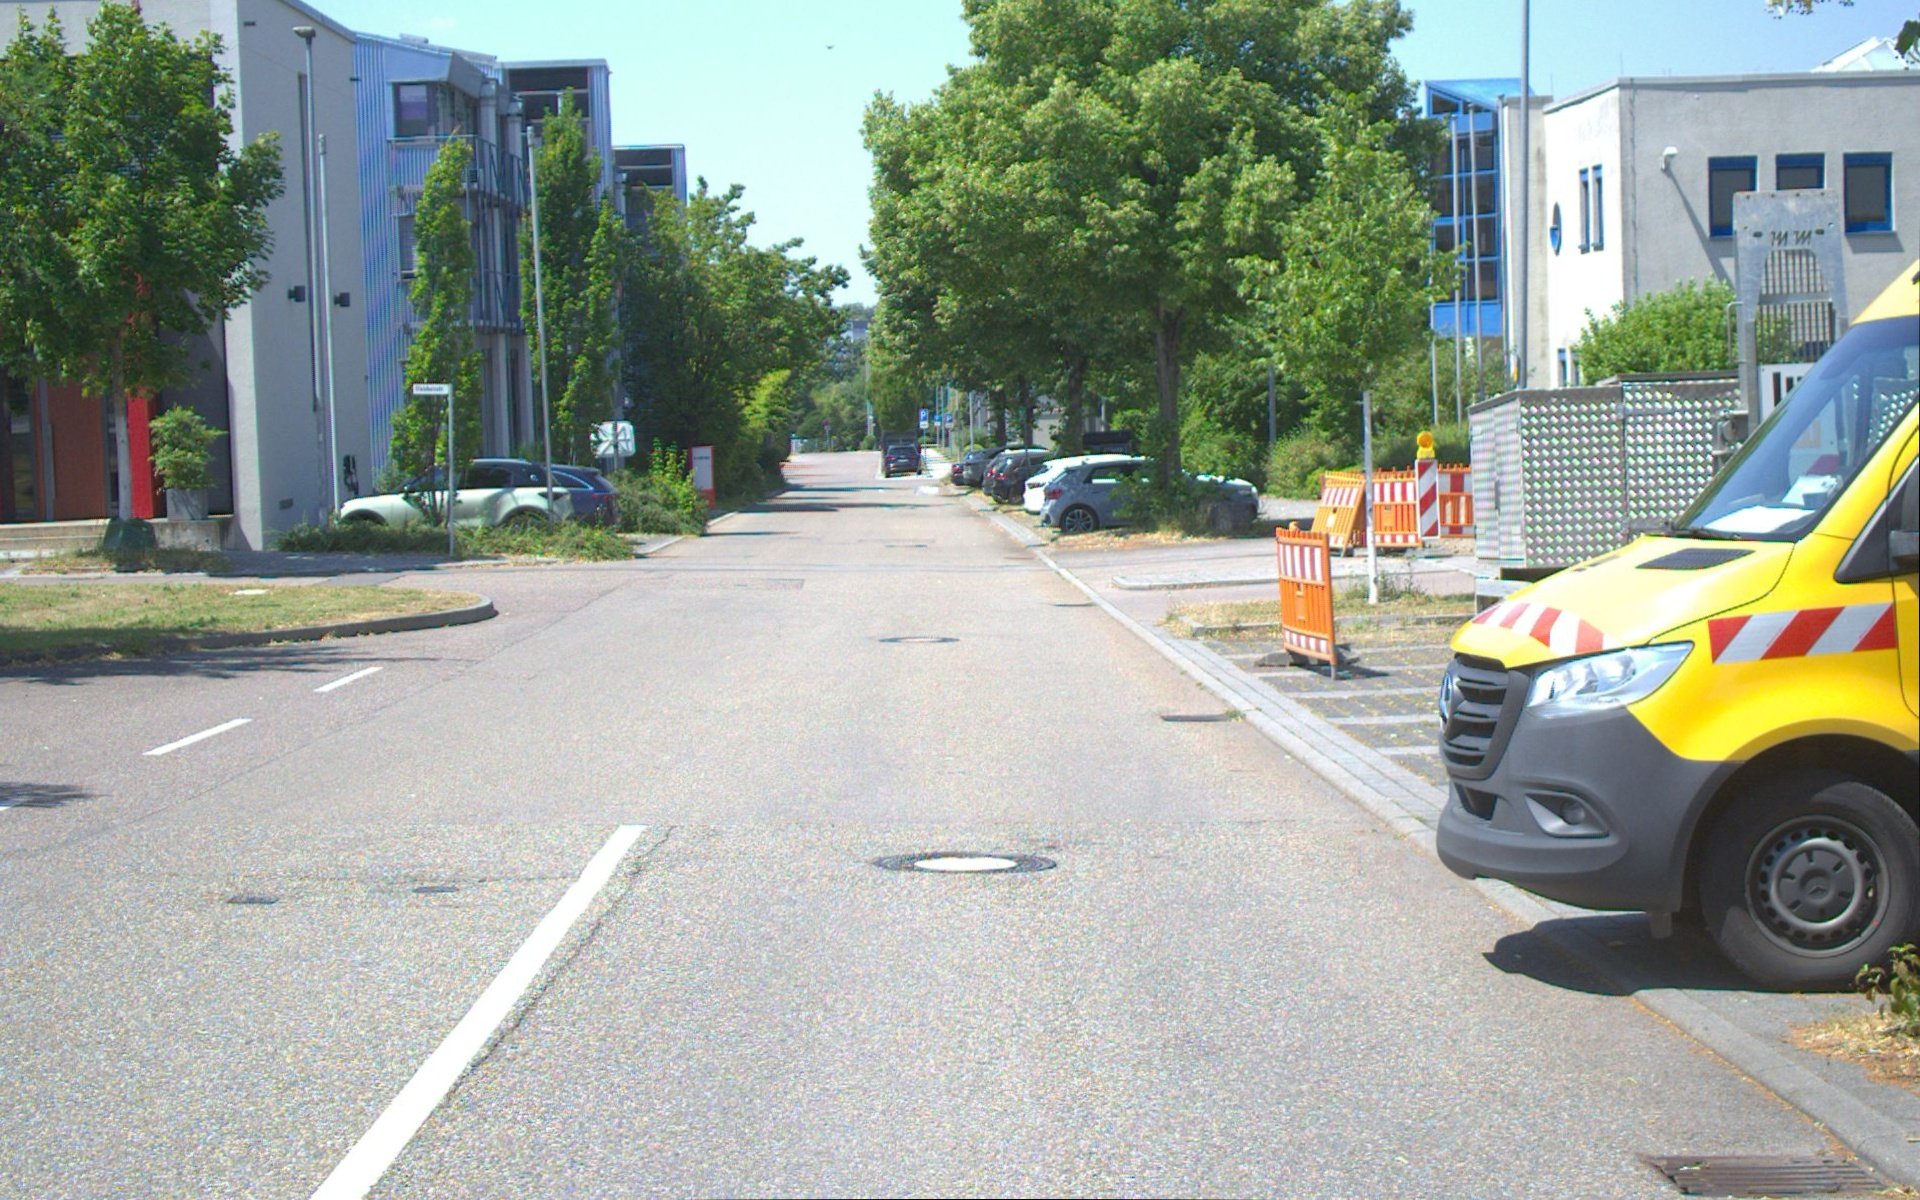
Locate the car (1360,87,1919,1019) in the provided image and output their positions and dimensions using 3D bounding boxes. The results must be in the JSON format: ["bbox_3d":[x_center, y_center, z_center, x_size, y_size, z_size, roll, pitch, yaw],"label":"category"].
[{"bbox_3d":[4.402,-0.294,11.354,5.778,2.723,2.001,-3,3,-2],"label":"car"}]

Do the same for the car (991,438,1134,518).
[{"bbox_3d":[2.739,-3.281,92.458,3.721,2.103,1.814,-1,2,-1],"label":"car"}]

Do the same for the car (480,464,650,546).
[{"bbox_3d":[-7.232,-1.754,62.900,3.057,1.473,1.293,0,2,-7],"label":"car"}]

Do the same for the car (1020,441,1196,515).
[{"bbox_3d":[3.149,-2.613,73.453,3.516,1.349,1.538,-4,3,-5],"label":"car"}]

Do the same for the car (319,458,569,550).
[{"bbox_3d":[-8.728,-1.639,58.372,4.045,1.489,1.729,-1,2,-3],"label":"car"}]

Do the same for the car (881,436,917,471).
[{"bbox_3d":[-3.075,-7.429,174.513,1.761,1.749,3.945,-1,2,0],"label":"car"}]

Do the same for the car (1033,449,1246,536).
[{"bbox_3d":[3.305,-2.001,63.730,3.678,1.349,1.646,-4,3,-5],"label":"car"}]

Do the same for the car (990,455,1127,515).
[{"bbox_3d":[2.718,-3.219,95.879,3.721,1.621,1.814,-1,2,-1],"label":"car"}]

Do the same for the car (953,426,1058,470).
[{"bbox_3d":[1.783,-5.996,135.295,3.931,1.572,1.768,-1,6,-8],"label":"car"}]

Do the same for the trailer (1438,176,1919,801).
[{"bbox_3d":[4.594,-0.670,18.774,2.656,2.847,5.521,-3,2,-5],"label":"trailer"}]

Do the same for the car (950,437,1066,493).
[{"bbox_3d":[1.712,-4.838,123.098,3.931,1.828,1.768,-1,6,-8],"label":"car"}]
